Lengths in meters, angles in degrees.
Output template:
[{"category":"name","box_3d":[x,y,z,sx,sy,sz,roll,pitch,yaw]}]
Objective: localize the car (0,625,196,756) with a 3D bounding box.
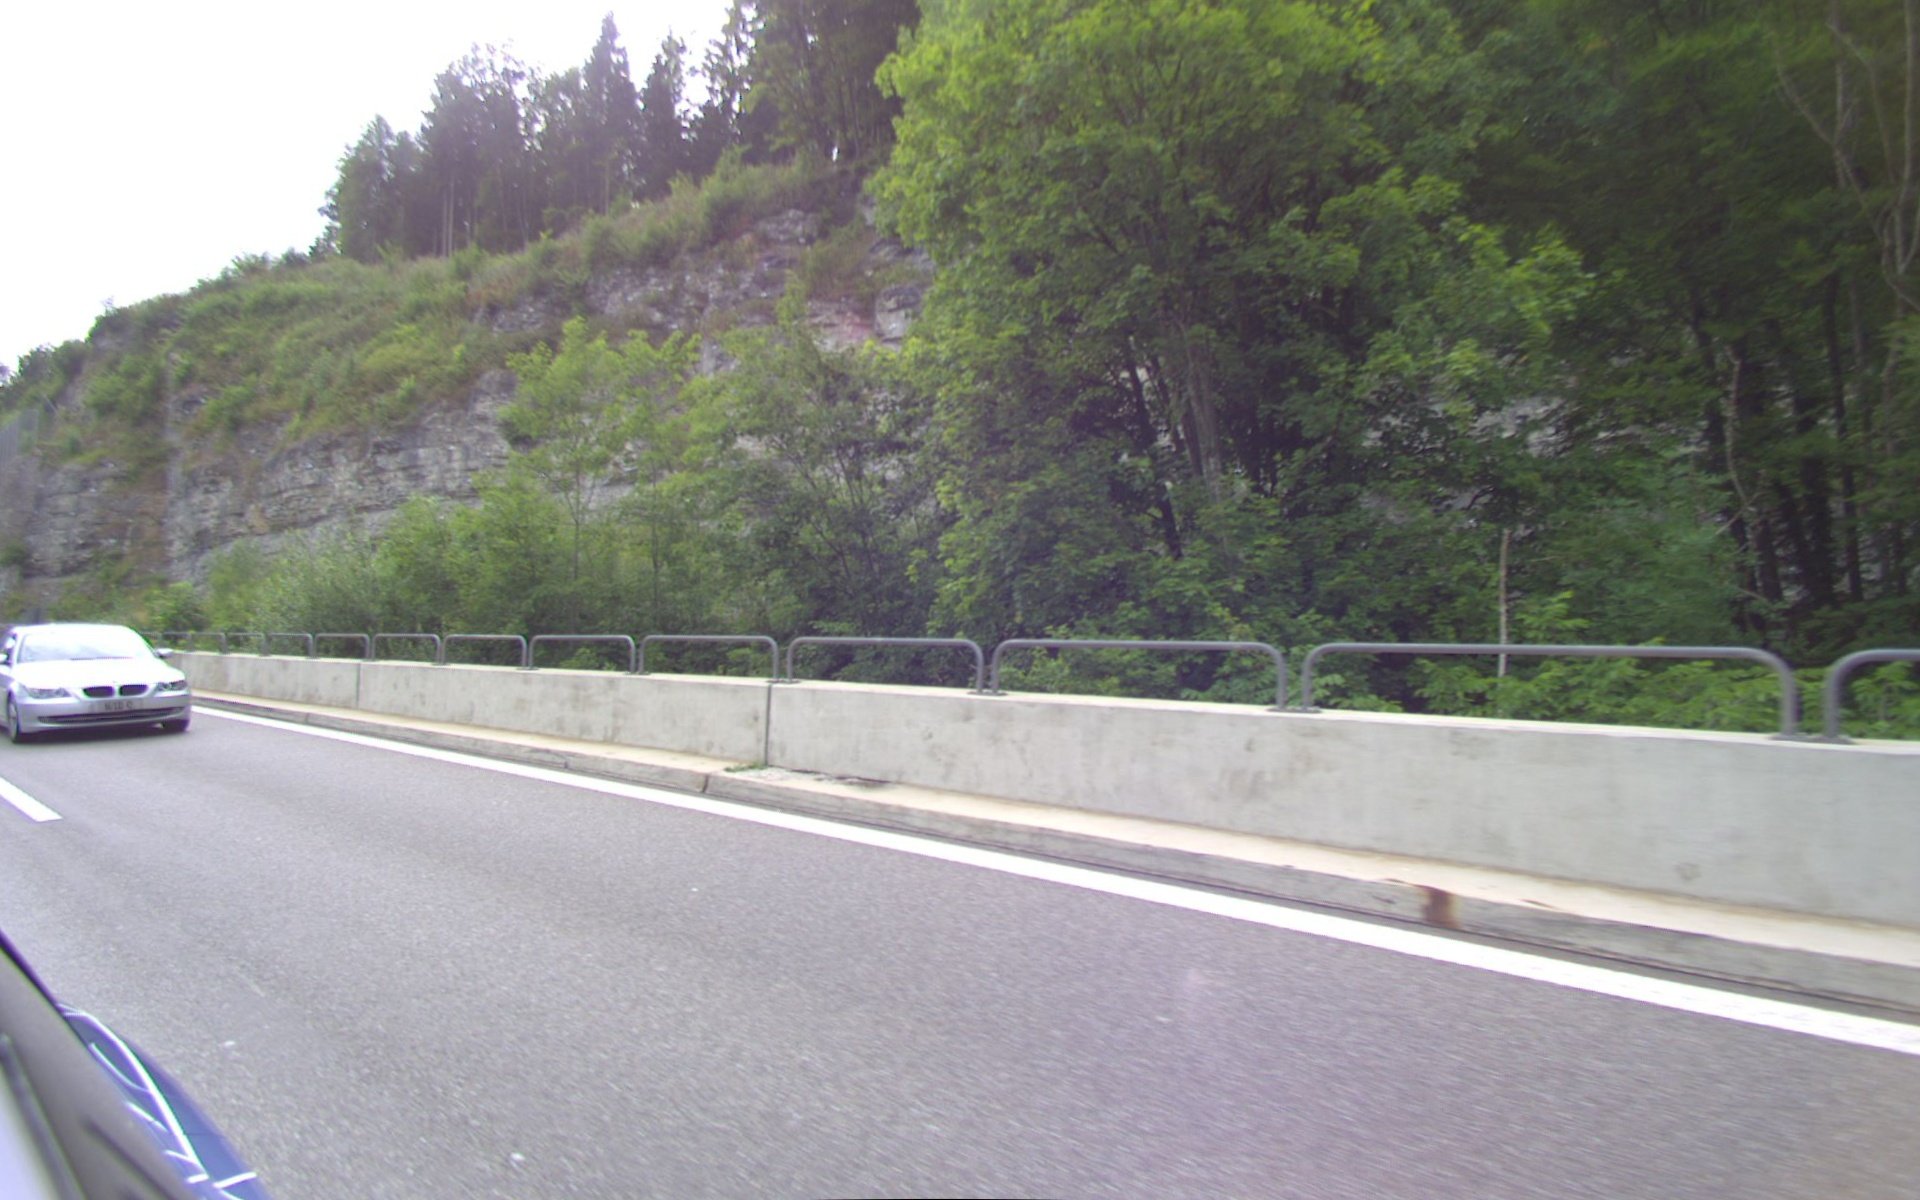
[{"category":"car","box_3d":[-12.448,1.131,14.101,5.131,1.468,1.809,-2,-1,40]}]
